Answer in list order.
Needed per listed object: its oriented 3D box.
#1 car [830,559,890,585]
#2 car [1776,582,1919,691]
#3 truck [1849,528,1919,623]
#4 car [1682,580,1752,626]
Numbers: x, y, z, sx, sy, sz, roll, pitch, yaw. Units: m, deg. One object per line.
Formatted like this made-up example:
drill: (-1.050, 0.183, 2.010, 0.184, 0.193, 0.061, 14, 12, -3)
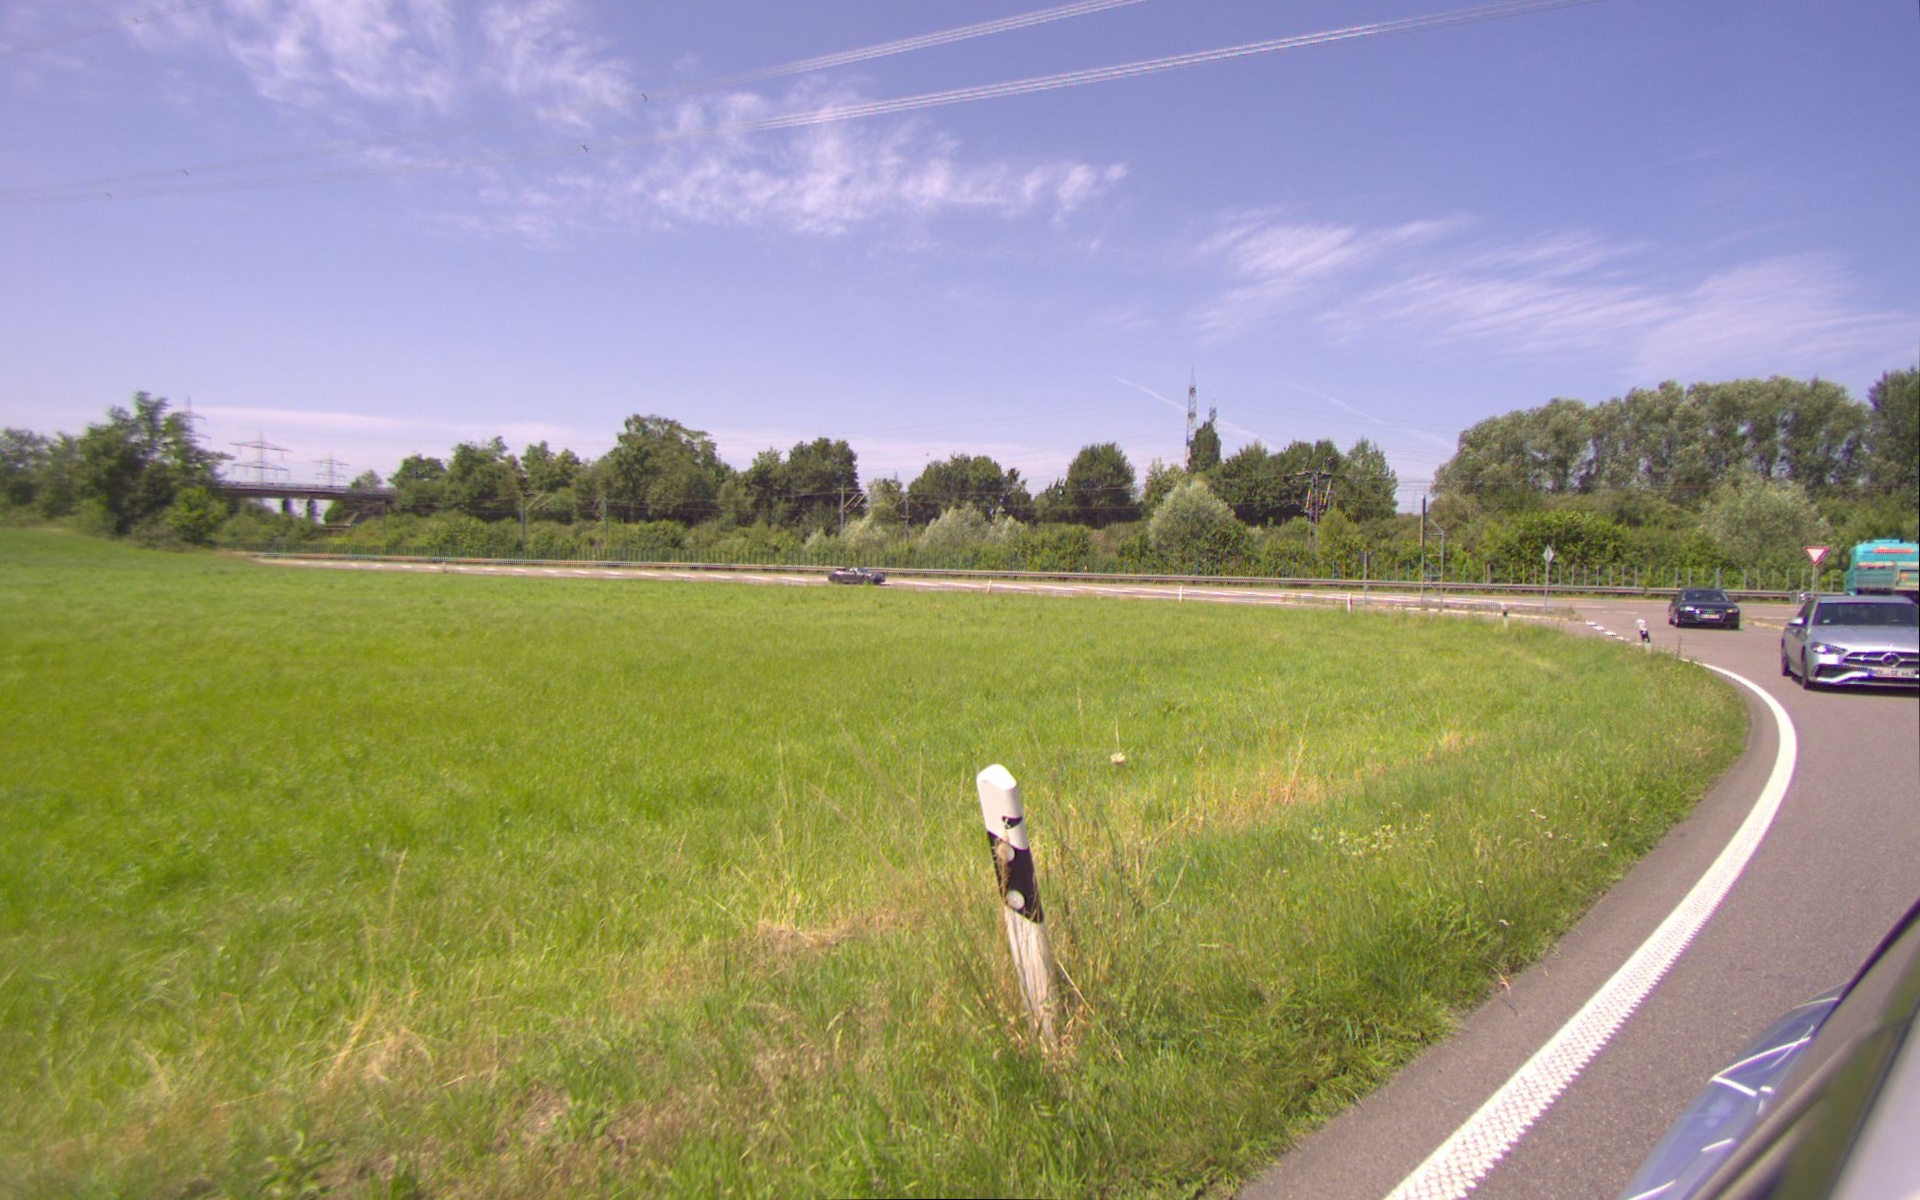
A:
car: (-7.118, -1.989, 71.797, 3.963, 1.745, 1.708, 3, 3, 28)
car: (14.593, 0.489, 16.186, 1.811, 1.505, 4.104, 1, 2, 31)
truck: (38.061, -0.944, 40.158, 2.589, 3.514, 7.530, 2, 2, 30)
car: (26.778, 0.059, 35.918, 1.814, 1.457, 4.096, 3, 3, 35)
